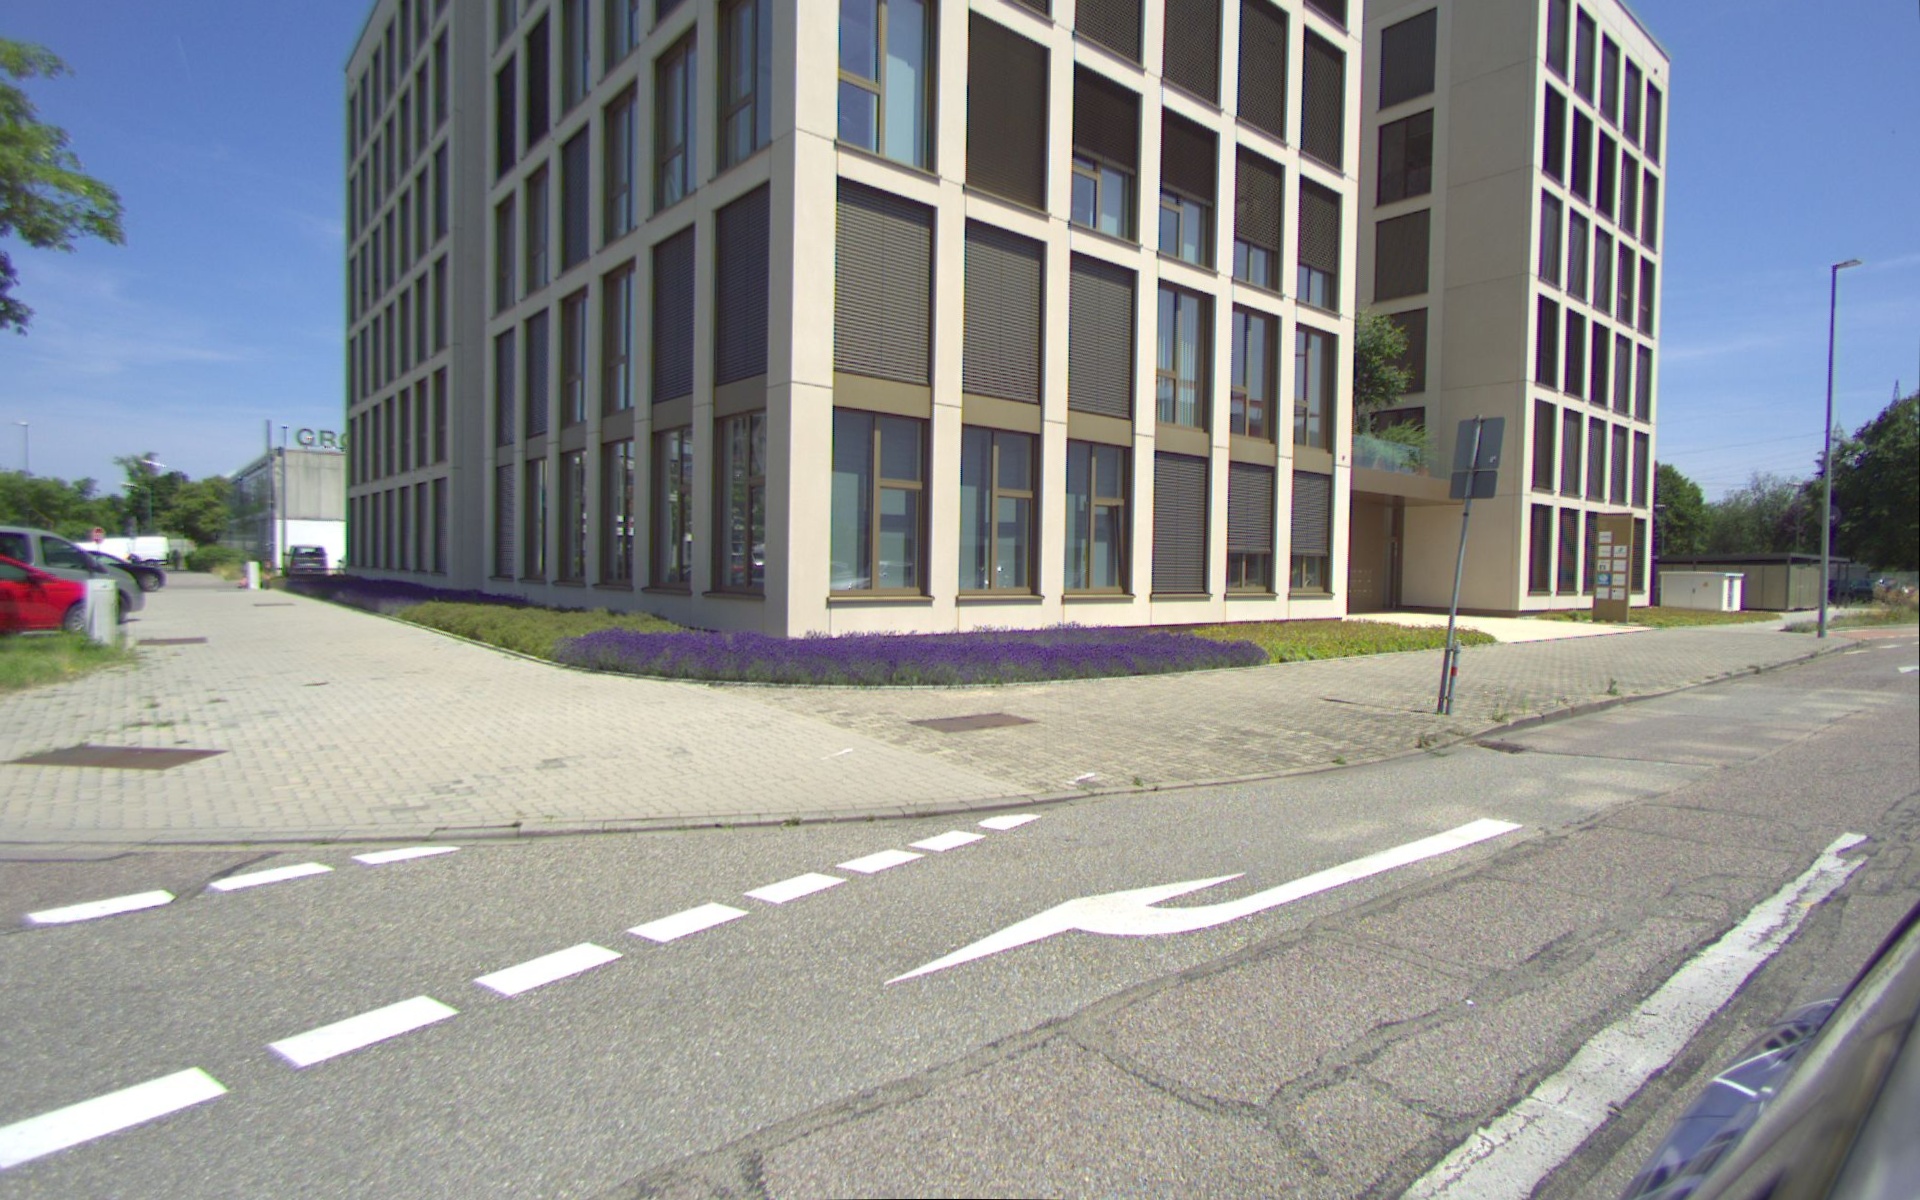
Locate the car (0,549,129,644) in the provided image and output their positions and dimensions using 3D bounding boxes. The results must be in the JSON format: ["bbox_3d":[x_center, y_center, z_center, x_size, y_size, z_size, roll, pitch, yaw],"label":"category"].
[{"bbox_3d":[-15.467,-0.061,15.599,1.672,1.449,3.990,1,3,10],"label":"car"}]

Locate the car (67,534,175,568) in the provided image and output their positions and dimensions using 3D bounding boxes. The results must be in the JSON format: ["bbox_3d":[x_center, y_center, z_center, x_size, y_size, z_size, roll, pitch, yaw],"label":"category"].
[{"bbox_3d":[-67.593,-3.917,81.720,6.573,2.552,2.217,-1,0,-38],"label":"car"}]

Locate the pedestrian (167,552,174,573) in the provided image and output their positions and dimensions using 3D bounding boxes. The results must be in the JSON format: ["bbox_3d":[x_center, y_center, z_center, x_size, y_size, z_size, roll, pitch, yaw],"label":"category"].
[{"bbox_3d":[-58.958,-2.826,75.543,0.397,1.579,0.549,0,2,-39],"label":"pedestrian"}]

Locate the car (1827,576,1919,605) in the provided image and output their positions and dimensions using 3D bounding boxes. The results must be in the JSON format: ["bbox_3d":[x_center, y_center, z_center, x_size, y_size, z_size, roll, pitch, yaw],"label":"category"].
[{"bbox_3d":[53.665,-0.574,59.542,3.810,1.571,1.716,2,2,36],"label":"car"}]

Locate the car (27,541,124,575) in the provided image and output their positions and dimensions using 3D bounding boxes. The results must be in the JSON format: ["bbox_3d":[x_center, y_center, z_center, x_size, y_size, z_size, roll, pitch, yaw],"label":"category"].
[{"bbox_3d":[-55.150,-2.594,63.221,4.495,2.039,1.997,-1,0,-40],"label":"car"}]

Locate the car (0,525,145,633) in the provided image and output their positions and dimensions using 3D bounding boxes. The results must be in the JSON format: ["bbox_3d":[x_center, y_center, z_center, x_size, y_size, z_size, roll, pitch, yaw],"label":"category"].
[{"bbox_3d":[-17.905,-0.400,18.443,1.886,1.910,4.927,1,1,5],"label":"car"}]

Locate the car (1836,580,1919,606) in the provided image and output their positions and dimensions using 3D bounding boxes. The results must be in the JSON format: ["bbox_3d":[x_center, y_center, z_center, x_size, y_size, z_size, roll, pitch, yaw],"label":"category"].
[{"bbox_3d":[55.261,-0.451,60.762,3.810,1.411,1.716,2,2,36],"label":"car"}]

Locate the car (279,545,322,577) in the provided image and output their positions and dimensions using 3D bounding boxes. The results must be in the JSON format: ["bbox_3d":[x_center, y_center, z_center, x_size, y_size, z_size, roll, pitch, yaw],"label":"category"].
[{"bbox_3d":[-38.115,-2.230,58.460,1.763,1.749,3.997,0,0,-38],"label":"car"}]
